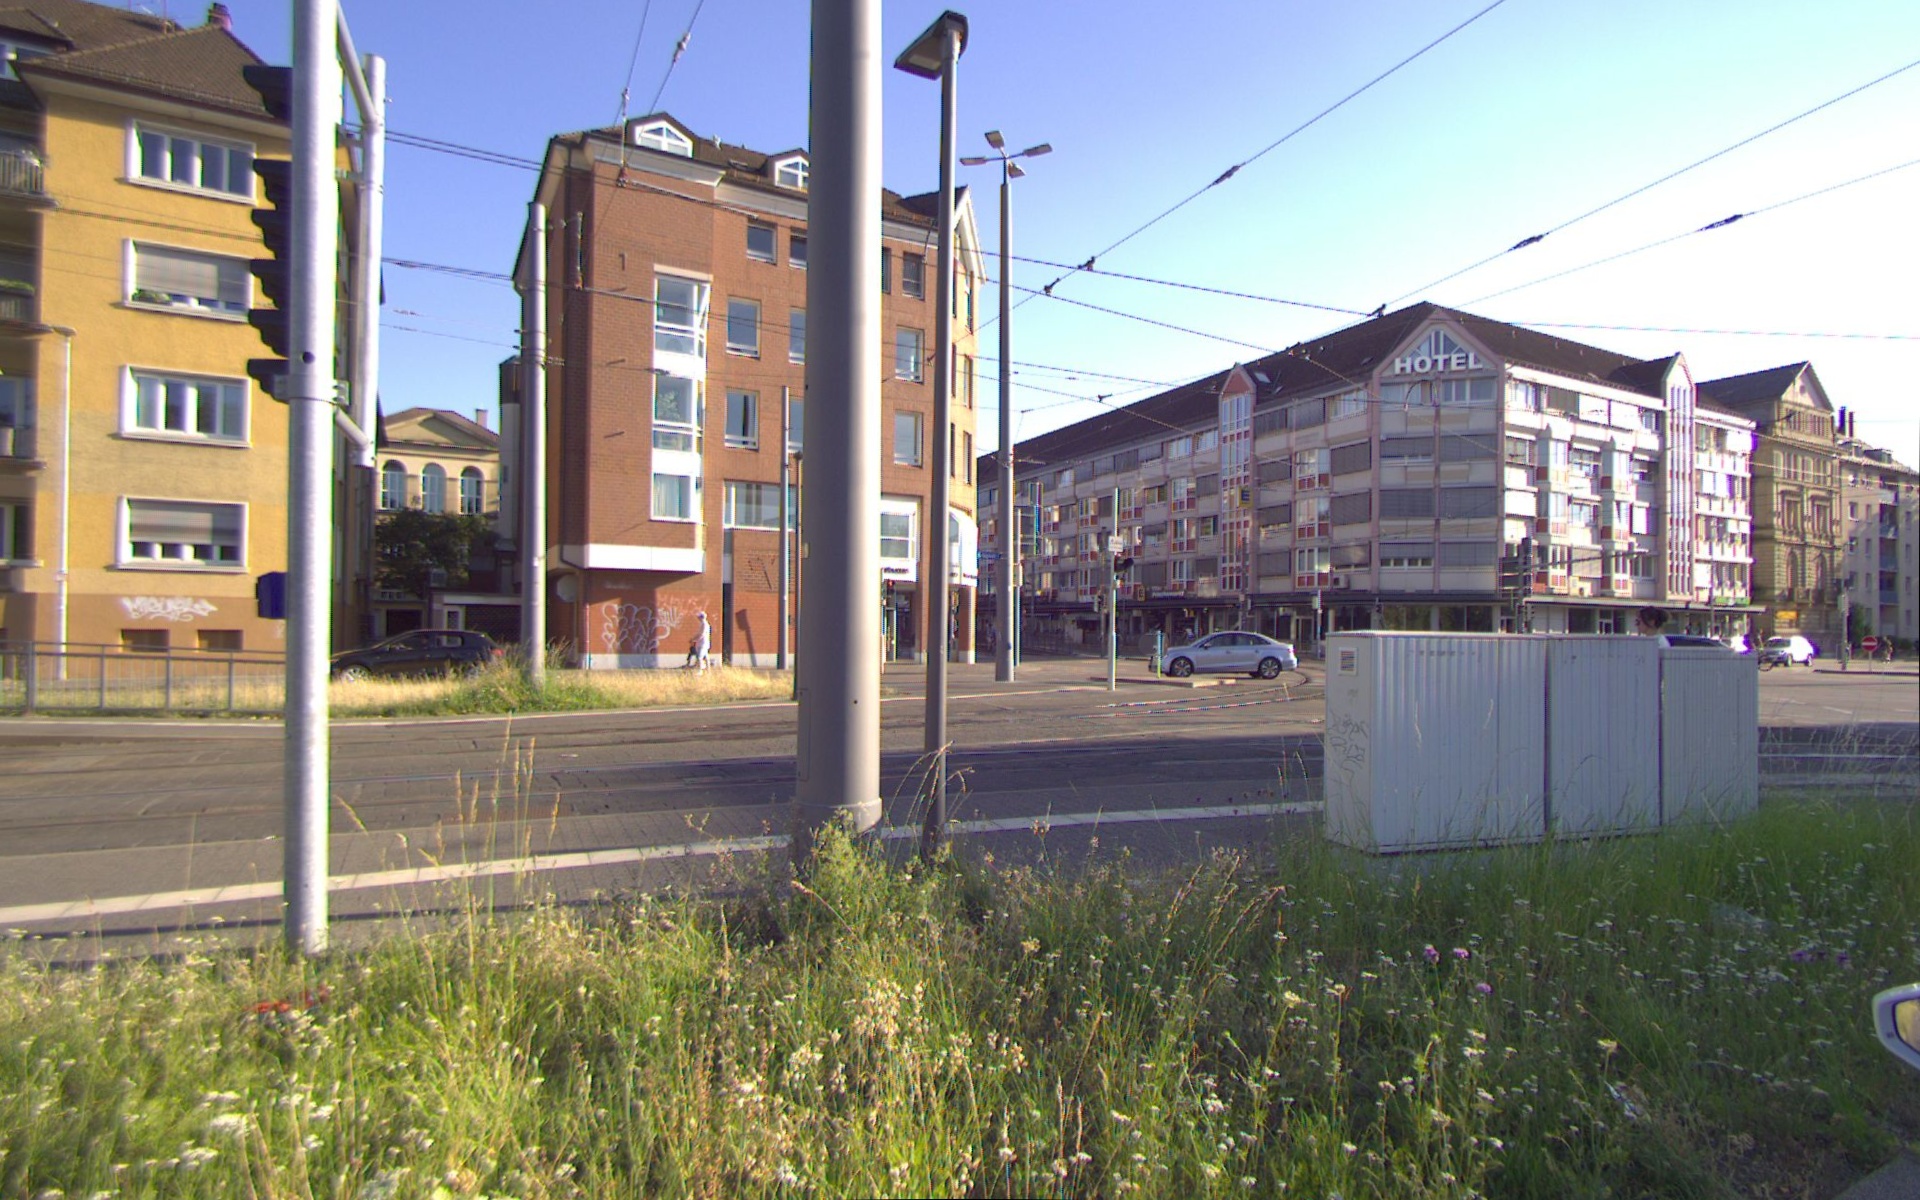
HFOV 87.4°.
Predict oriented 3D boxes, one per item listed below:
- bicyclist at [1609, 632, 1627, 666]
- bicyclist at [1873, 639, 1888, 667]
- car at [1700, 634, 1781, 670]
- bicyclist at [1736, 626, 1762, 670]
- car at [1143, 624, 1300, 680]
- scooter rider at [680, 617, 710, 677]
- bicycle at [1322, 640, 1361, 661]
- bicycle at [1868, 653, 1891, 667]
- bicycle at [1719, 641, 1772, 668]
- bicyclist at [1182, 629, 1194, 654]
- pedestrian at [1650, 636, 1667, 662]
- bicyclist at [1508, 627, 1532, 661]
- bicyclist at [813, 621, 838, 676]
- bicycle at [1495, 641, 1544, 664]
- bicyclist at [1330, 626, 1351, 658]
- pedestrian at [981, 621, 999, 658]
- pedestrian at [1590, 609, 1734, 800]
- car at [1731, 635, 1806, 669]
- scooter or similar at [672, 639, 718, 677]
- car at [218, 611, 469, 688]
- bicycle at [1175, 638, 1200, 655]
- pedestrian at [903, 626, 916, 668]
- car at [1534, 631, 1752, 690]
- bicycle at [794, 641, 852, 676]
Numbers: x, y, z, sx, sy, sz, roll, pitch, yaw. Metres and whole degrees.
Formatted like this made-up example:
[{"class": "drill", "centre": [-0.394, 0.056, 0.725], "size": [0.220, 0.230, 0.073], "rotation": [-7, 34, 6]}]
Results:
[{"class": "bicyclist", "centre": [35.980, 2.675, 54.919], "size": [0.634, 1.886, 0.590], "rotation": [1, -2, -28]}, {"class": "bicyclist", "centre": [64.556, 3.710, 70.434], "size": [0.634, 1.886, 0.590], "rotation": [1, -2, -28]}, {"class": "car", "centre": [42.197, 2.776, 54.312], "size": [3.949, 1.884, 1.986], "rotation": [1, -2, -28]}, {"class": "bicyclist", "centre": [37.158, 2.242, 47.300], "size": [0.596, 2.040, 0.775], "rotation": [1, -1, -24]}, {"class": "car", "centre": [7.864, 1.551, 30.512], "size": [4.260, 1.617, 2.001], "rotation": [0, -2, 1]}, {"class": "scooter rider", "centre": [-7.709, 1.354, 29.202], "size": [0.652, 1.734, 0.527], "rotation": [0, -2, 9]}, {"class": "bicycle", "centre": [21.450, 2.818, 56.477], "size": [0.651, 1.152, 2.081], "rotation": [1, -2, -33]}, {"class": "bicycle", "centre": [64.424, 4.192, 70.355], "size": [1.813, 0.927, 0.596], "rotation": [1, -2, -28]}, {"class": "bicycle", "centre": [37.078, 2.578, 47.441], "size": [0.601, 1.216, 1.956], "rotation": [1, -1, -24]}, {"class": "bicyclist", "centre": [15.598, 2.835, 68.743], "size": [0.534, 1.734, 0.658], "rotation": [2, -2, -39]}, {"class": "pedestrian", "centre": [43.152, 3.031, 62.088], "size": [0.695, 1.626, 0.623], "rotation": [1, -1, -28]}, {"class": "bicyclist", "centre": [29.154, 2.281, 52.255], "size": [0.643, 1.776, 0.893], "rotation": [1, -2, -33]}, {"class": "bicyclist", "centre": [-4.246, 1.527, 31.710], "size": [0.655, 1.734, 0.536], "rotation": [1, -2, -18]}, {"class": "bicycle", "centre": [29.140, 2.723, 52.344], "size": [0.652, 1.152, 2.161], "rotation": [1, -2, -33]}, {"class": "bicyclist", "centre": [21.408, 2.372, 56.555], "size": [0.648, 1.776, 0.893], "rotation": [1, -2, -33]}, {"class": "pedestrian", "centre": [1.681, 2.220, 56.624], "size": [0.713, 2.040, 0.712], "rotation": [1, -1, -26]}, {"class": "pedestrian", "centre": [6.330, 0.906, 9.080], "size": [0.647, 1.618, 0.874], "rotation": [1, -2, -30]}, {"class": "car", "centre": [47.231, 3.016, 58.679], "size": [3.949, 1.884, 1.986], "rotation": [1, -2, -28]}, {"class": "scooter or similar", "centre": [-7.704, 1.675, 29.188], "size": [1.151, 1.086, 0.530], "rotation": [0, -2, 9]}, {"class": "car", "centre": [-14.085, 1.129, 23.211], "size": [4.727, 1.617, 1.983], "rotation": [2, -2, -32]}, {"class": "bicycle", "centre": [15.586, 3.173, 68.745], "size": [0.535, 1.073, 1.718], "rotation": [2, -2, -39]}, {"class": "pedestrian", "centre": [-2.230, 2.086, 44.479], "size": [0.532, 1.831, 0.502], "rotation": [0, -1, -2]}, {"class": "car", "centre": [19.451, 1.691, 28.901], "size": [4.839, 1.498, 2.000], "rotation": [0, -1, 21]}, {"class": "bicycle", "centre": [-4.313, 1.852, 31.679], "size": [1.753, 1.086, 0.533], "rotation": [1, -2, -18]}]
